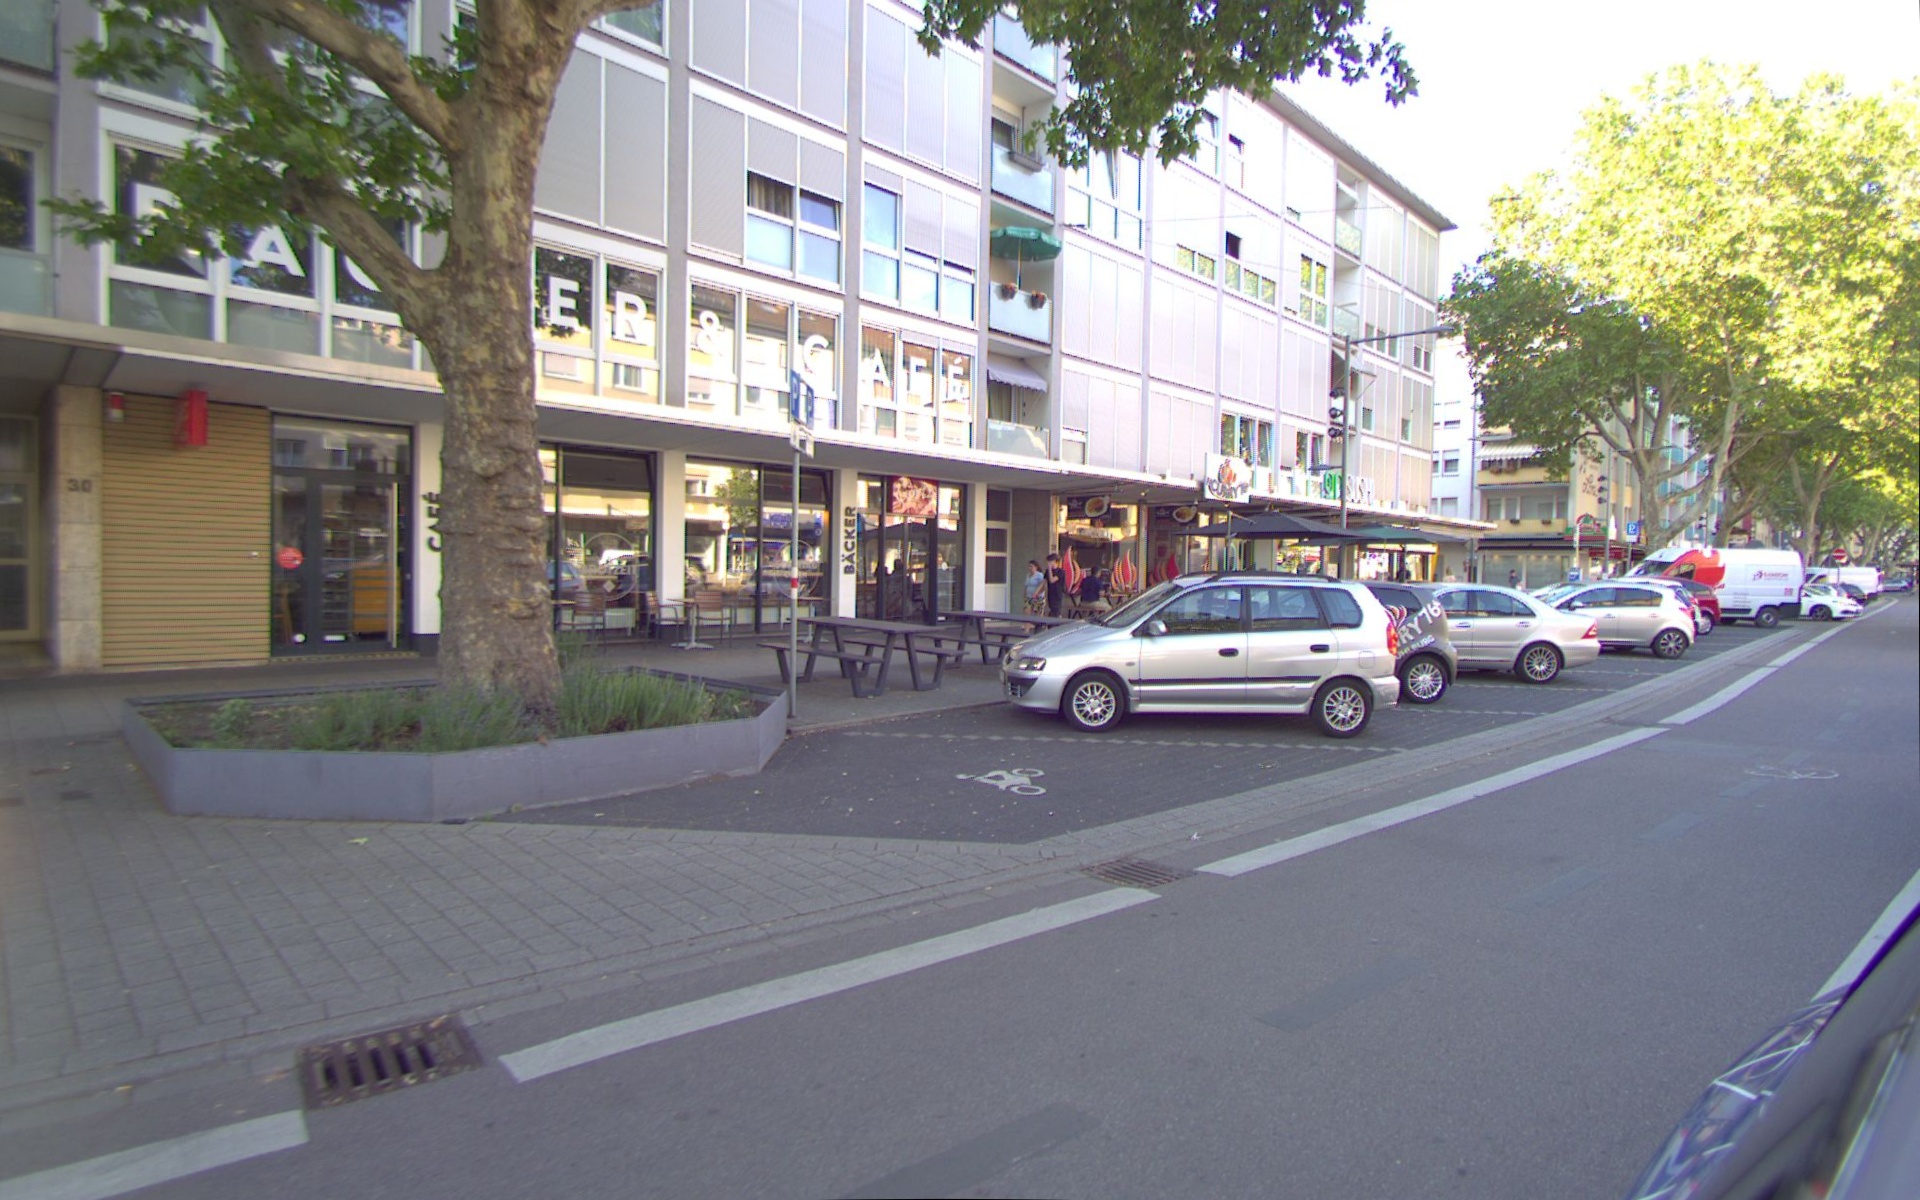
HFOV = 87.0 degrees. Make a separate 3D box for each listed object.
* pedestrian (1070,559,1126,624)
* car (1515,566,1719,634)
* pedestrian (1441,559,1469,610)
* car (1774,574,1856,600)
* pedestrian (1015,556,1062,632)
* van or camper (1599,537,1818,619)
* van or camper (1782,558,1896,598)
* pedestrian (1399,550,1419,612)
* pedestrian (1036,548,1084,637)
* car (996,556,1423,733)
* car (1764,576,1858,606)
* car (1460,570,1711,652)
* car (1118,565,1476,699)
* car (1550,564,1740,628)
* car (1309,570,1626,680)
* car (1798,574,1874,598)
[{"bbox_3d":[3.010,-0.197,22.108,0.945,1.379,0.750,-1,2,-41],"label":"pedestrian"},{"bbox_3d":[16.570,-0.028,25.672,3.929,1.541,1.659,1,3,5],"label":"car"},{"bbox_3d":[15.837,-0.504,32.360,0.537,1.610,0.676,5,4,44],"label":"pedestrian"},{"bbox_3d":[49.336,-0.769,58.438,3.271,1.363,1.530,1,3,5],"label":"car"},{"bbox_3d":[1.508,-0.121,19.484,0.537,1.417,0.676,5,4,44],"label":"pedestrian"},{"bbox_3d":[24.157,-0.735,32.830,5.366,2.499,1.998,1,2,5],"label":"van or camper"},{"bbox_3d":[57.015,-1.457,65.715,5.363,2.499,1.999,1,2,3],"label":"van or camper"},{"bbox_3d":[14.955,-0.616,33.721,0.547,2.039,0.571,-1,0,31],"label":"pedestrian"},{"bbox_3d":[1.877,-0.155,19.062,0.537,1.610,0.676,5,4,44],"label":"pedestrian"},{"bbox_3d":[2.426,0.395,10.569,3.922,1.626,1.811,1,2,-3],"label":"car"},{"bbox_3d":[43.093,-0.461,51.304,3.271,1.363,1.530,1,3,5],"label":"car"},{"bbox_3d":[12.554,0.178,20.523,3.929,1.453,1.659,1,3,5],"label":"car"},{"bbox_3d":[4.186,0.358,13.022,3.922,1.525,1.811,1,2,-3],"label":"car"},{"bbox_3d":[18.840,-0.139,27.980,3.929,1.582,1.659,1,3,5],"label":"car"},{"bbox_3d":[7.624,0.332,15.484,3.926,1.453,1.660,1,3,2],"label":"car"},{"bbox_3d":[54.729,-0.887,63.264,3.271,1.363,1.530,1,3,5],"label":"car"}]
